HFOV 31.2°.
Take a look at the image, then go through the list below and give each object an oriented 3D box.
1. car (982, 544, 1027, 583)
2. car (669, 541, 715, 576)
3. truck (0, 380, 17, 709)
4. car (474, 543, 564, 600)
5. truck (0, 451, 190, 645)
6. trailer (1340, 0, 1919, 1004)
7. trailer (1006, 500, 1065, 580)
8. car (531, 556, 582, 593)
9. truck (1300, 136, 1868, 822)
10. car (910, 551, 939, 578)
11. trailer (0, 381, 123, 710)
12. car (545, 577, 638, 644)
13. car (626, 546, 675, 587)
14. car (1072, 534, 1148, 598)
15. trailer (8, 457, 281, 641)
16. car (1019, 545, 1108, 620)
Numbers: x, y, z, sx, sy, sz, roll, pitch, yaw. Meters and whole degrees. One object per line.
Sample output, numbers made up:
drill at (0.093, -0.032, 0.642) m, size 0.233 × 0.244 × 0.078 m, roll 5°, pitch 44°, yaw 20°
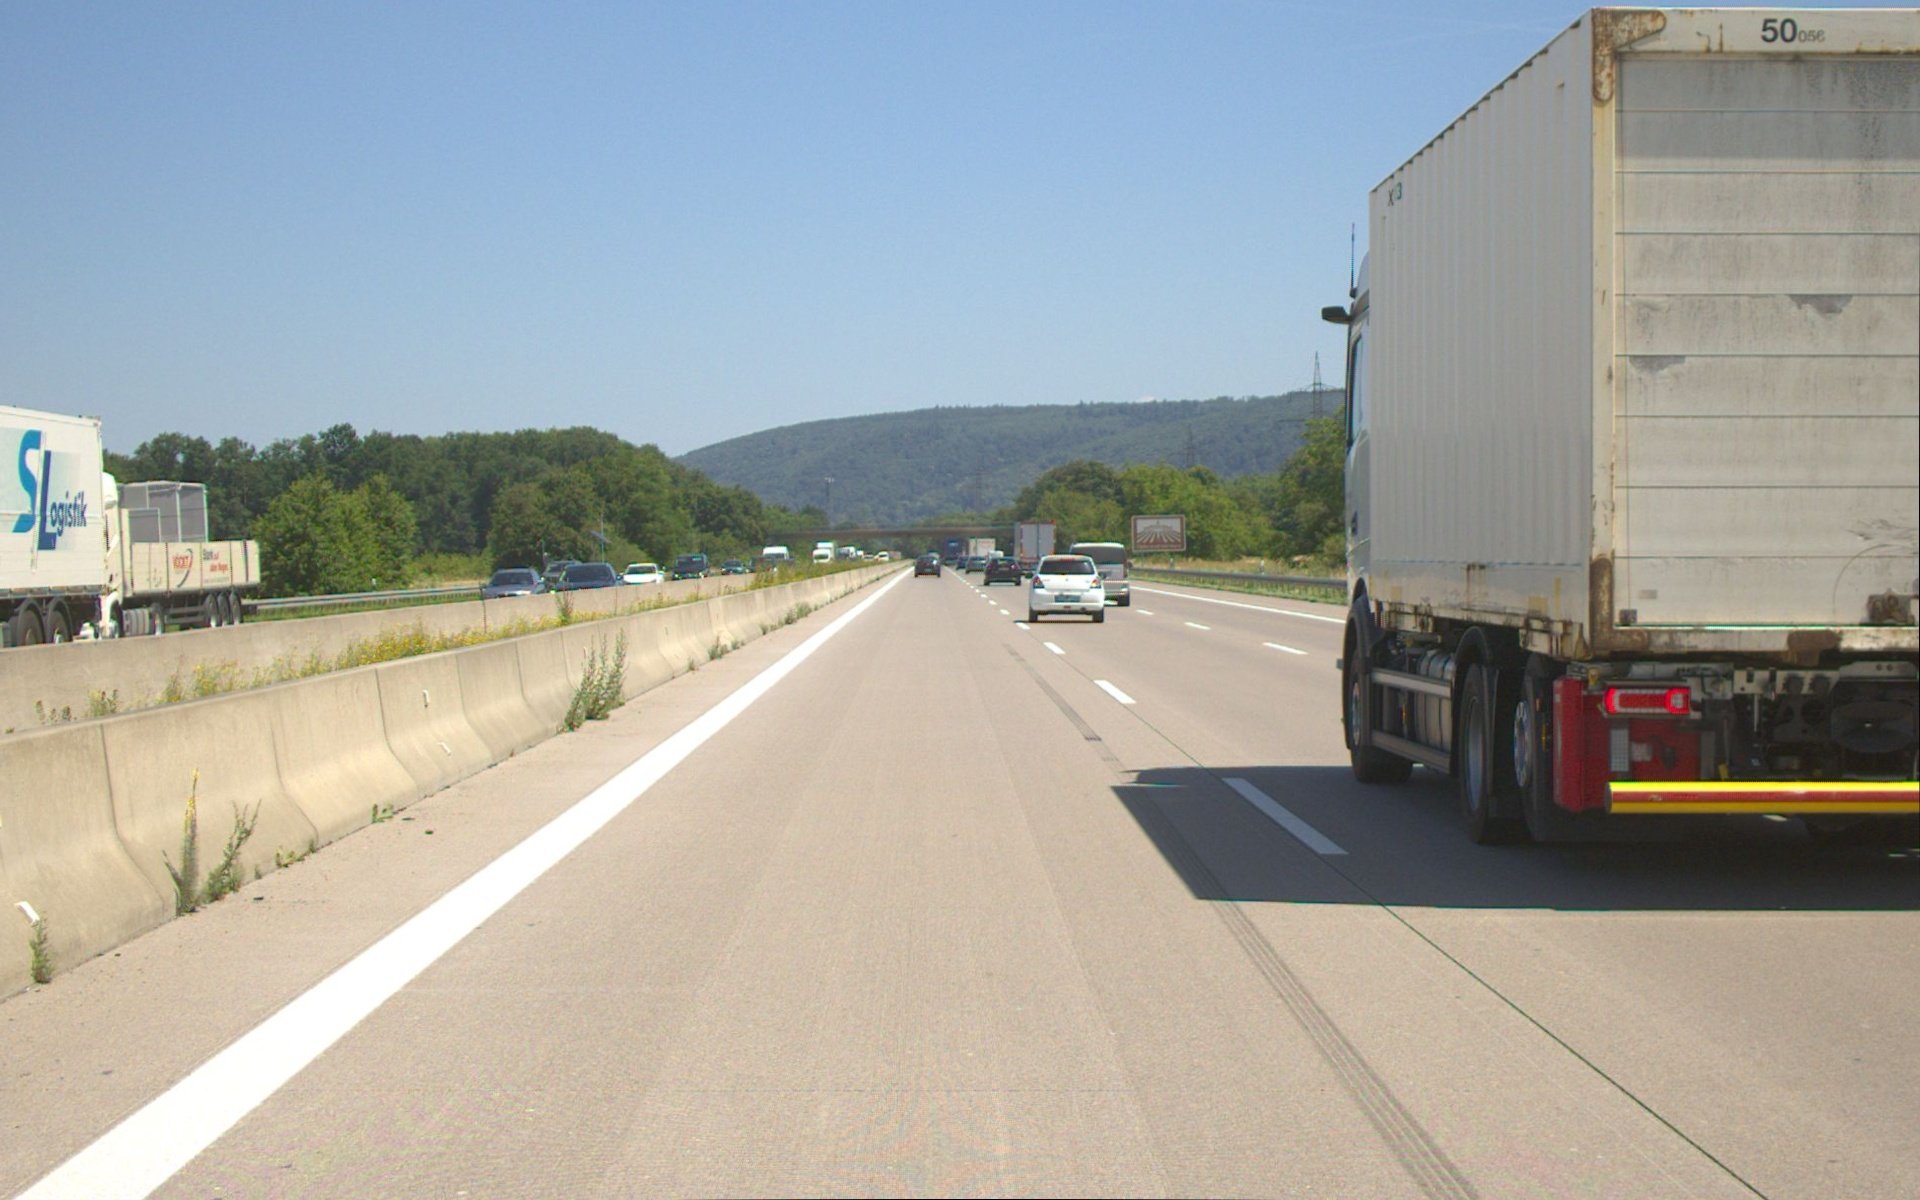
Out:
car at (2.187, -1.828, 170.087) m, size 1.993 × 1.842 × 4.000 m, roll 2°, pitch 1°, yaw -2°
car at (-14.598, -2.270, 187.561) m, size 1.993 × 1.872 × 5.184 m, roll 1°, pitch 1°, yaw 1°
truck at (-12.973, -0.651, 39.530) m, size 2.900 × 3.956 × 5.046 m, roll 1°, pitch 1°, yaw -1°
car at (-13.760, -0.906, 107.478) m, size 1.964 × 1.711 × 5.126 m, roll 1°, pitch 1°, yaw 2°
truck at (-17.712, -1.048, 69.239) m, size 2.803 × 3.674 × 7.236 m, roll 1°, pitch 1°, yaw 0°
trailer at (3.855, -0.640, 16.818) m, size 2.580 × 3.864 × 10.374 m, roll 1°, pitch 1°, yaw -1°
trailer at (5.650, -4.521, 259.267) m, size 3.721 × 5.791 × 12.163 m, roll 1°, pitch 1°, yaw -2°
car at (-18.871, -1.204, 160.871) m, size 1.993 × 1.711 × 4.301 m, roll 1°, pitch 1°, yaw -2°
truck at (3.789, -0.721, 22.011) m, size 2.580 × 3.864 × 4.985 m, roll 1°, pitch 1°, yaw -1°
car at (-2.391, -2.401, 231.346) m, size 1.928 × 1.787 × 4.000 m, roll 1°, pitch 1°, yaw -1°
trailer at (-13.038, -0.700, 43.539) m, size 2.900 × 3.956 × 8.478 m, roll 1°, pitch 1°, yaw -1°
car at (-10.050, 0.257, 94.064) m, size 1.993 × 1.711 × 5.025 m, roll 1°, pitch 1°, yaw 0°
car at (-14.117, -1.519, 156.998) m, size 1.993 × 1.711 × 4.613 m, roll 1°, pitch -1°, yaw -3°
car at (4.449, -1.035, 102.701) m, size 1.993 × 1.842 × 4.000 m, roll 1°, pitch 1°, yaw -1°
trailer at (-17.702, -1.126, 75.770) m, size 2.803 × 3.671 × 13.750 m, roll 1°, pitch 1°, yaw 0°
car at (2.337, -0.419, 78.312) m, size 1.819 × 1.656 × 4.000 m, roll 0°, pitch 1°, yaw -1°
